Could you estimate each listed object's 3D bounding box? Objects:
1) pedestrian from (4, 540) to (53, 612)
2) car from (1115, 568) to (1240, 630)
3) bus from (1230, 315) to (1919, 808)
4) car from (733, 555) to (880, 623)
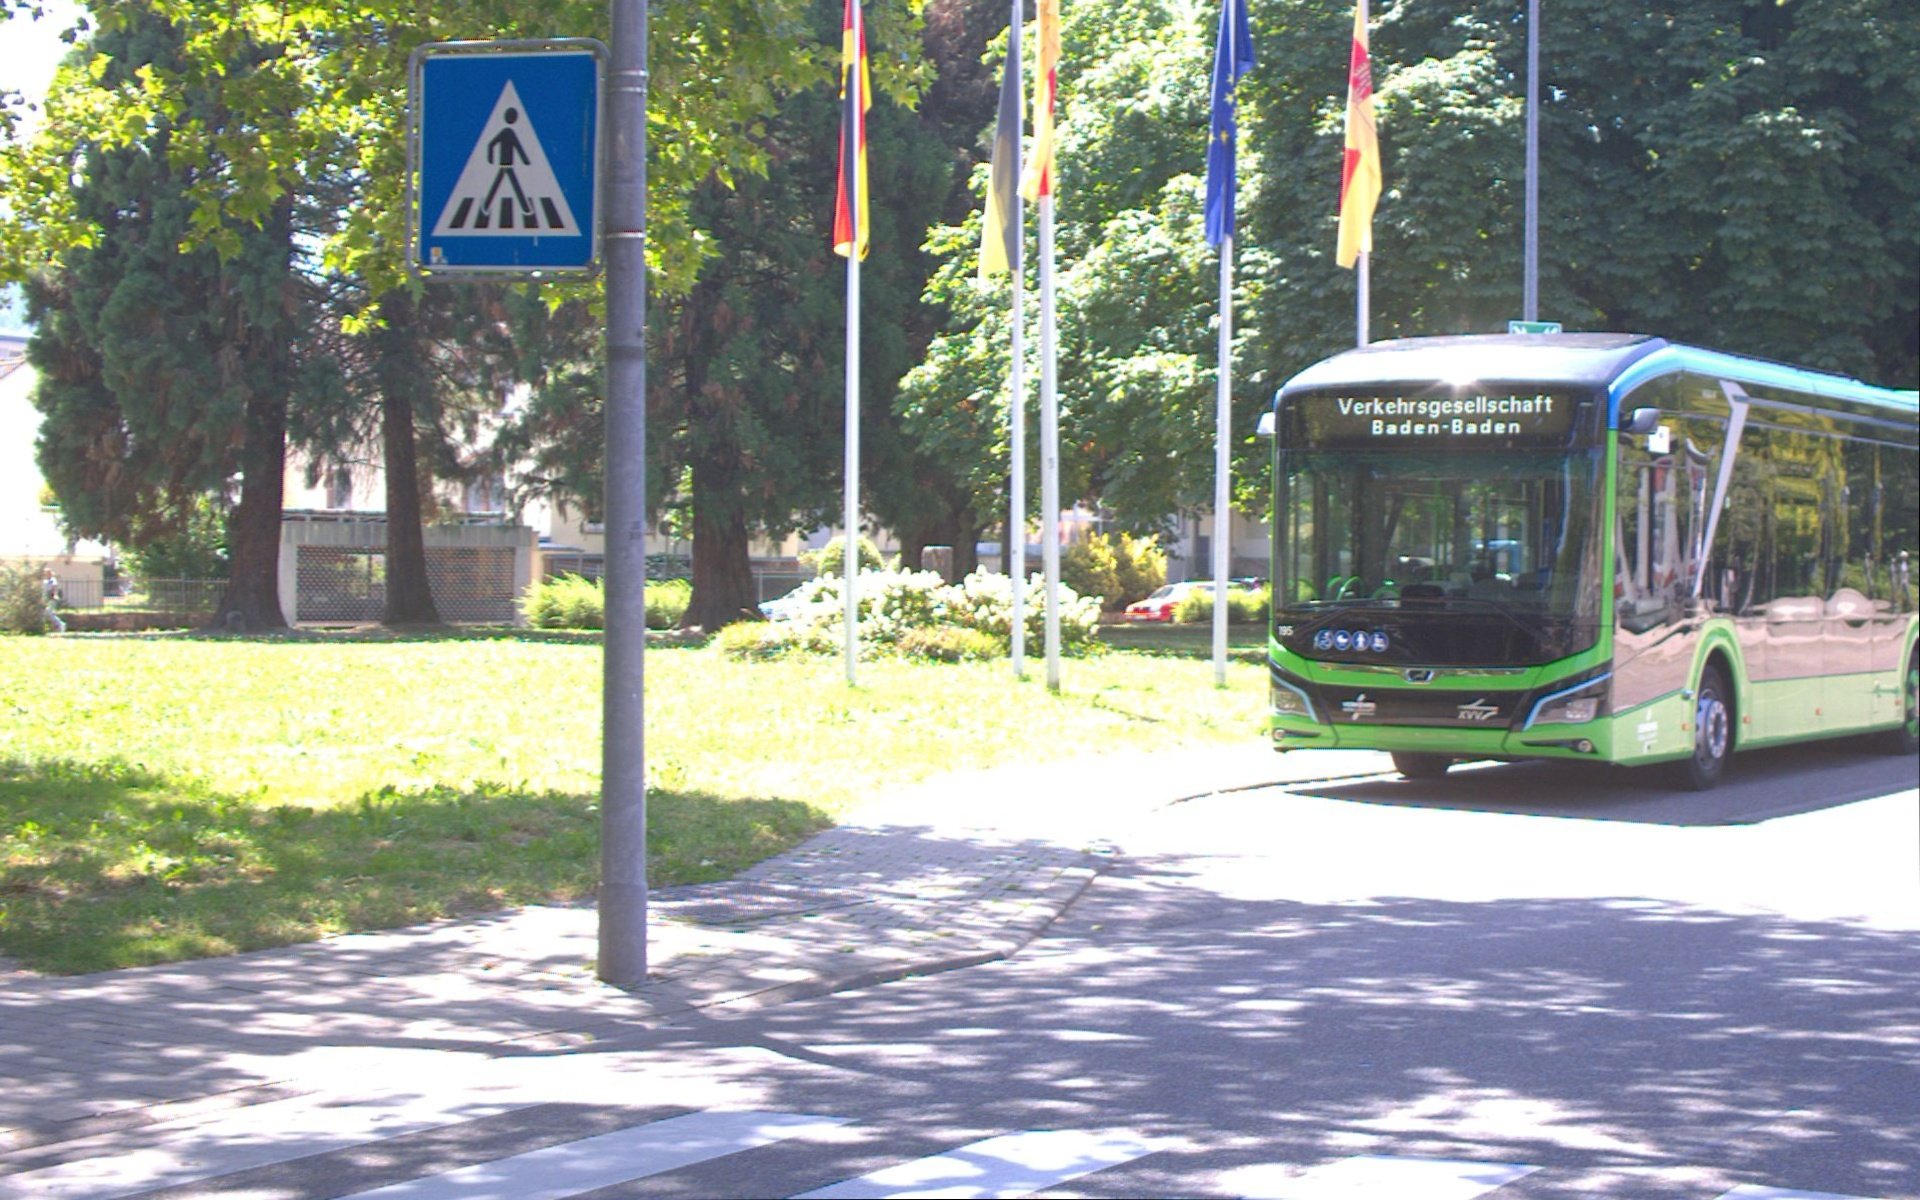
[{"bbox_3d":[-18.333,-0.476,67.690,0.824,1.366,0.618,3,1,-10],"label":"pedestrian"},{"bbox_3d":[6.936,-0.016,109.448,1.875,1.831,3.990,4,1,40],"label":"car"},{"bbox_3d":[6.174,-0.334,28.901,2.813,3.272,12.405,1,1,29],"label":"bus"},{"bbox_3d":[-4.347,-0.301,97.573,1.875,1.745,3.990,4,1,40],"label":"car"}]
